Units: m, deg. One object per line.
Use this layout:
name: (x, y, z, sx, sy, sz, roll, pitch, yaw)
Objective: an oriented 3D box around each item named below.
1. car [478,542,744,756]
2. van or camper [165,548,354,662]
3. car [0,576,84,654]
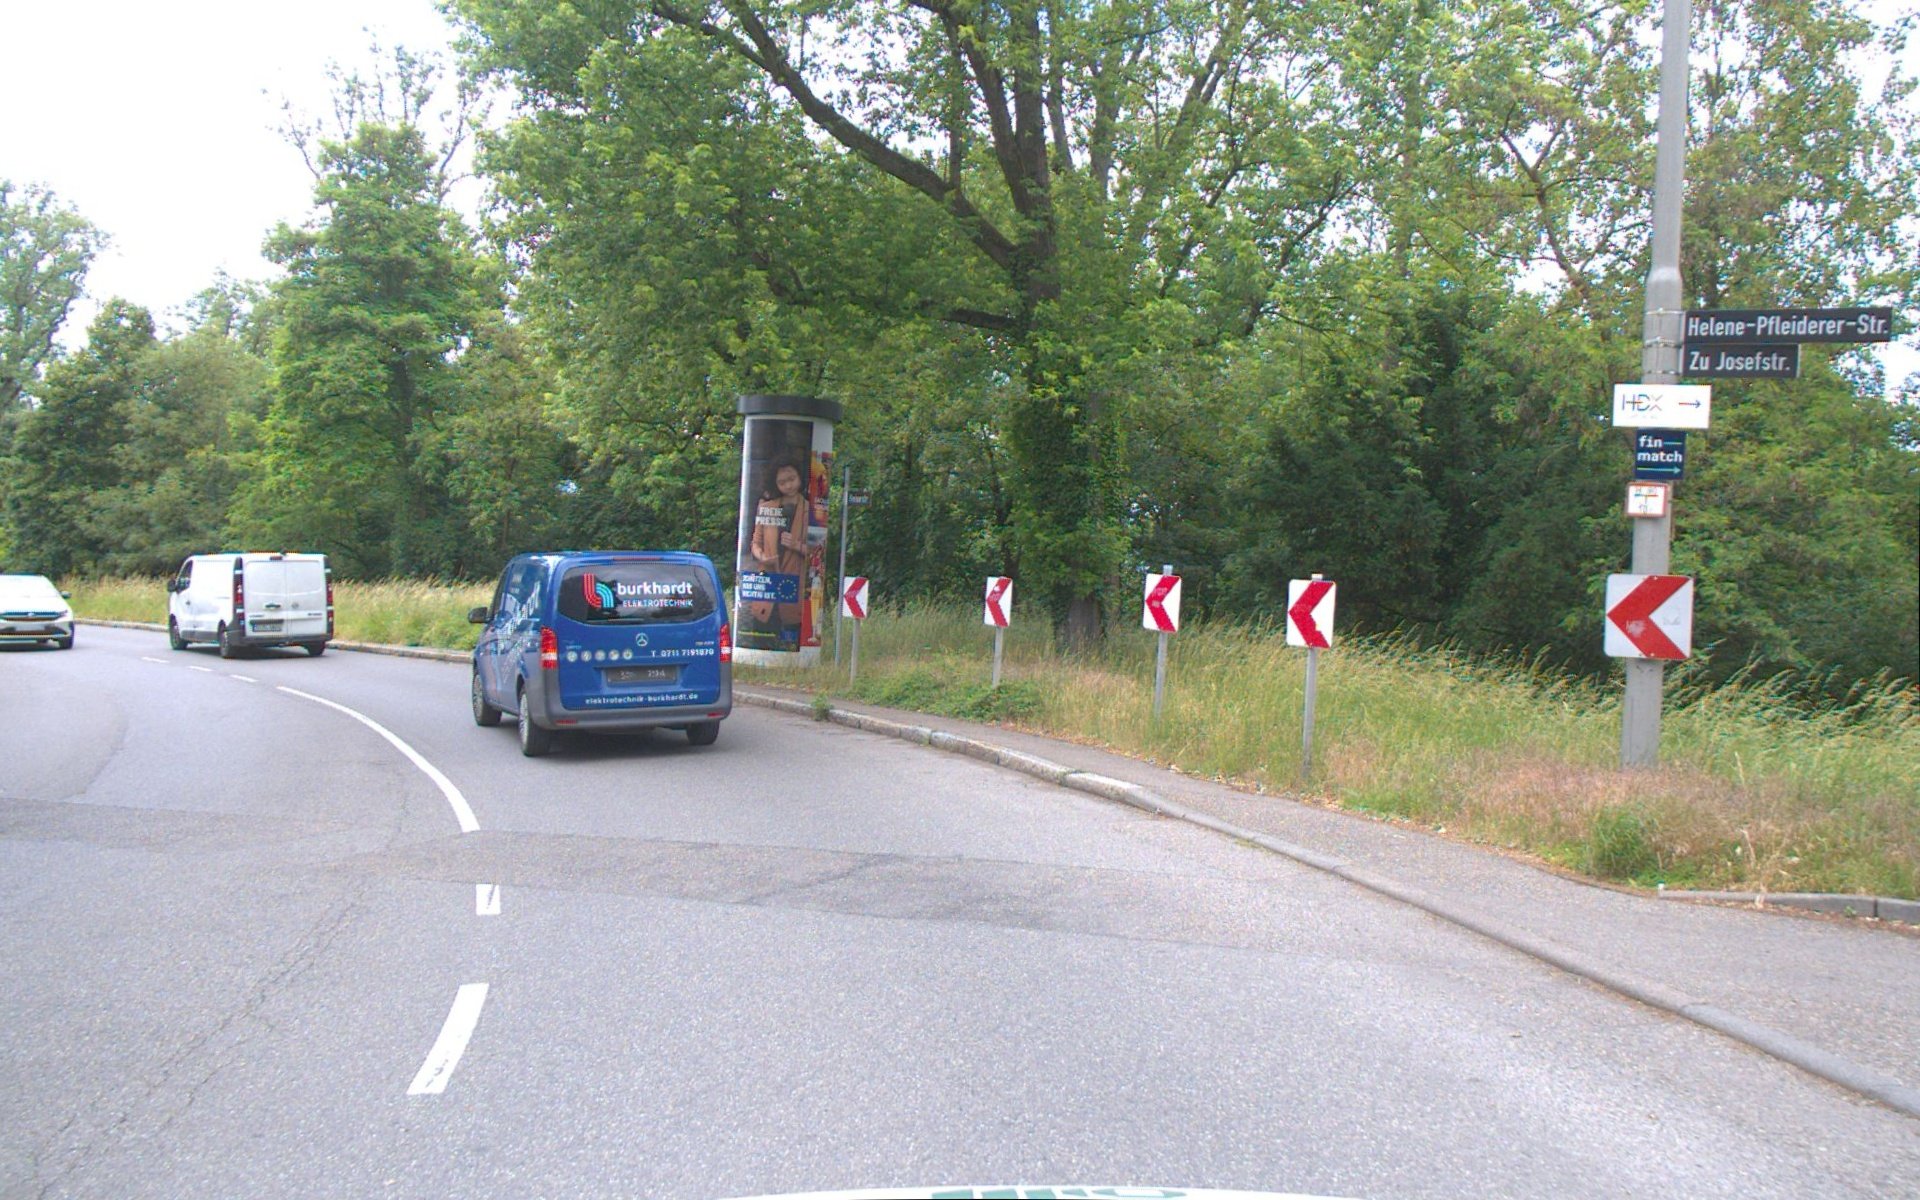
car: (-3.682, 0.407, 16.830, 1.887, 1.870, 4.263, 0, 1, -23)
van or camper: (-13.900, 0.042, 32.649, 2.008, 1.990, 4.823, 1, 2, -41)
car: (-19.576, 0.282, 34.541, 1.711, 1.482, 4.028, -3, 2, -35)
